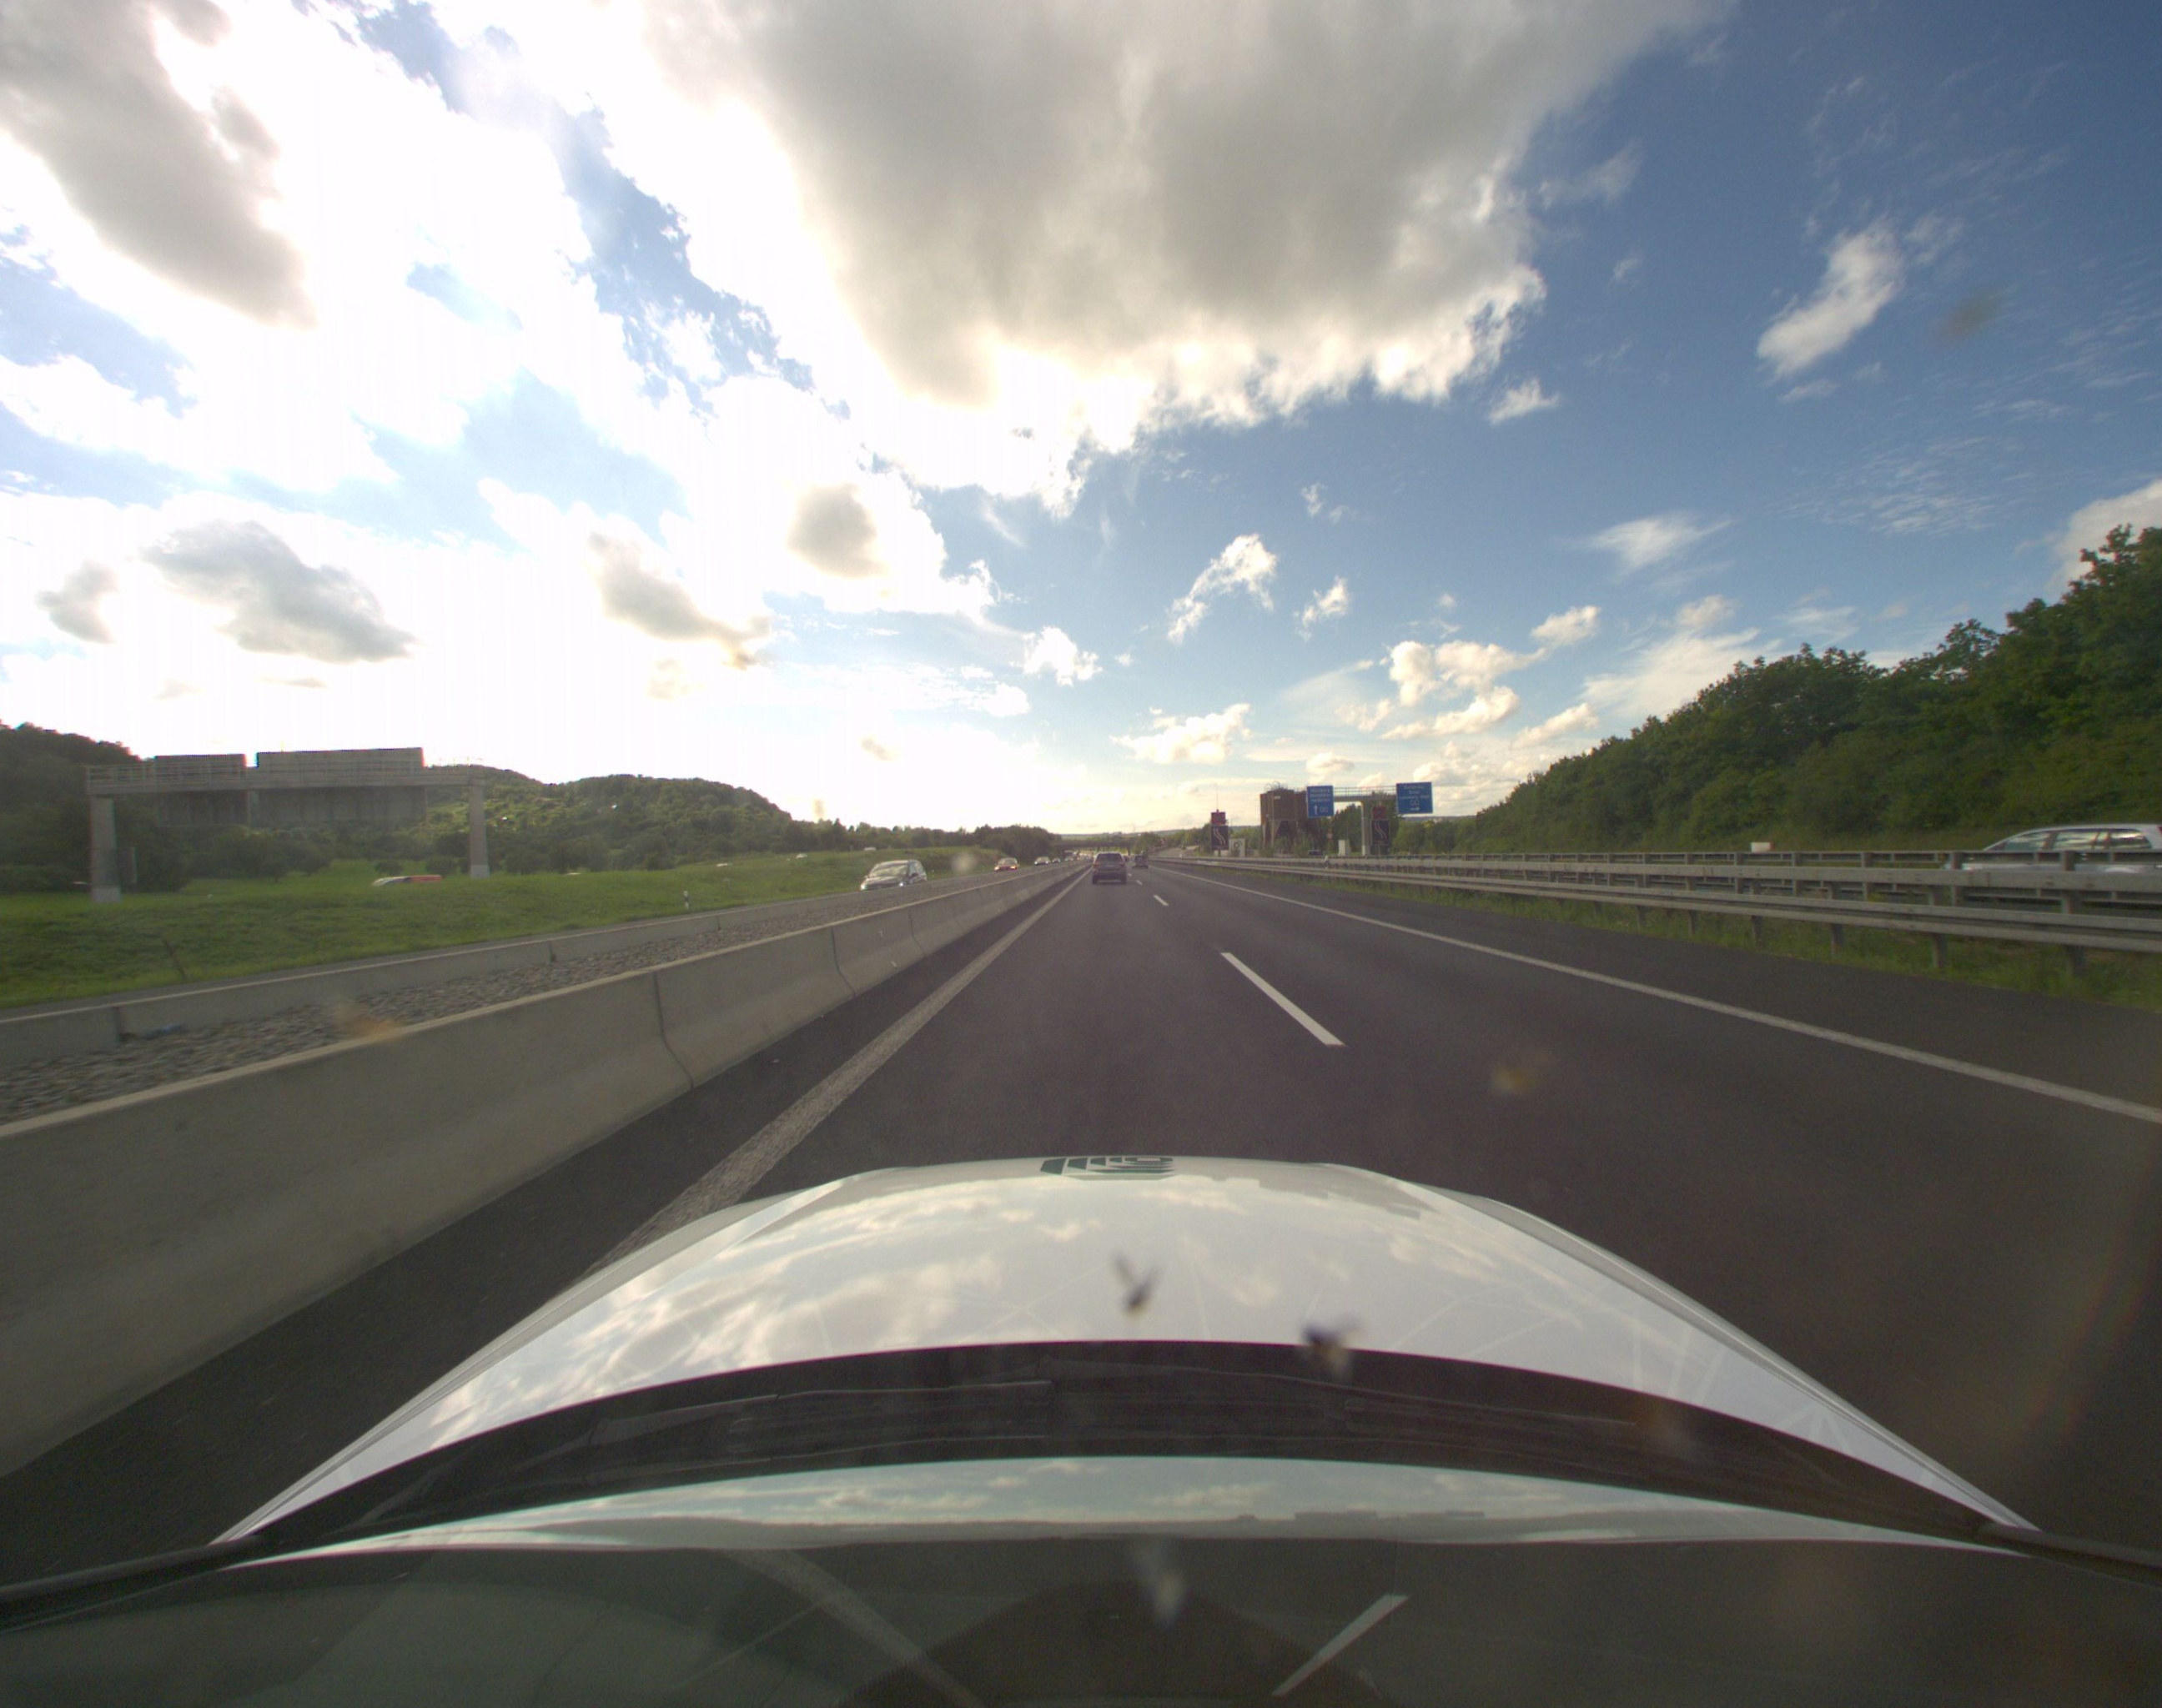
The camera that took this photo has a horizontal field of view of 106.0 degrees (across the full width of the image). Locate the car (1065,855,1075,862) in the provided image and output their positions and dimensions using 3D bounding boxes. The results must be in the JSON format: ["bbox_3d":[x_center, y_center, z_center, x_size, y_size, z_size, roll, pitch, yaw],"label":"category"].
[{"bbox_3d":[-2.508,1.031,192.602,1.985,1.573,5.369,-3,0,3],"label":"car"}]

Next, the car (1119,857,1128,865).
[{"bbox_3d":[10.098,1.618,192.321,1.967,1.779,4.122,-3,0,2],"label":"car"}]

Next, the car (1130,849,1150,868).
[{"bbox_3d":[6.673,0.514,92.801,1.986,2.081,4.002,-3,0,2],"label":"car"}]

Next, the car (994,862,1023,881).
[{"bbox_3d":[-6.172,1.460,69.644,1.781,1.398,4.801,-3,0,2],"label":"car"}]

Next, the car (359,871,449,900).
[{"bbox_3d":[-42.847,1.959,51.722,1.769,1.548,4.883,-3,0,-3],"label":"car"}]

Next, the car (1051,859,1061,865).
[{"bbox_3d":[-6.255,1.963,201.066,1.985,1.478,4.695,-3,0,3],"label":"car"}]

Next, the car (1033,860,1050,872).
[{"bbox_3d":[-5.288,1.598,109.831,1.781,1.398,4.625,-3,0,2],"label":"car"}]

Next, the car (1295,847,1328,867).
[{"bbox_3d":[21.294,0.298,75.459,1.986,1.717,4.002,-3,0,2],"label":"car"}]

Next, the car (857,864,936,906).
[{"bbox_3d":[-7.034,1.133,31.508,1.781,1.398,4.727,-3,0,2],"label":"car"}]

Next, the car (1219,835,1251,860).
[{"bbox_3d":[23.708,-0.952,126.002,3.563,3.676,7.552,-3,0,2],"label":"car"}]

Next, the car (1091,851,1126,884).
[{"bbox_3d":[1.539,0.718,44.349,1.742,1.630,3.612,-3,0,3],"label":"car"}]

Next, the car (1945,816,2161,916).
[{"bbox_3d":[19.980,0.183,15.890,1.986,1.708,4.002,-3,0,2],"label":"car"}]
